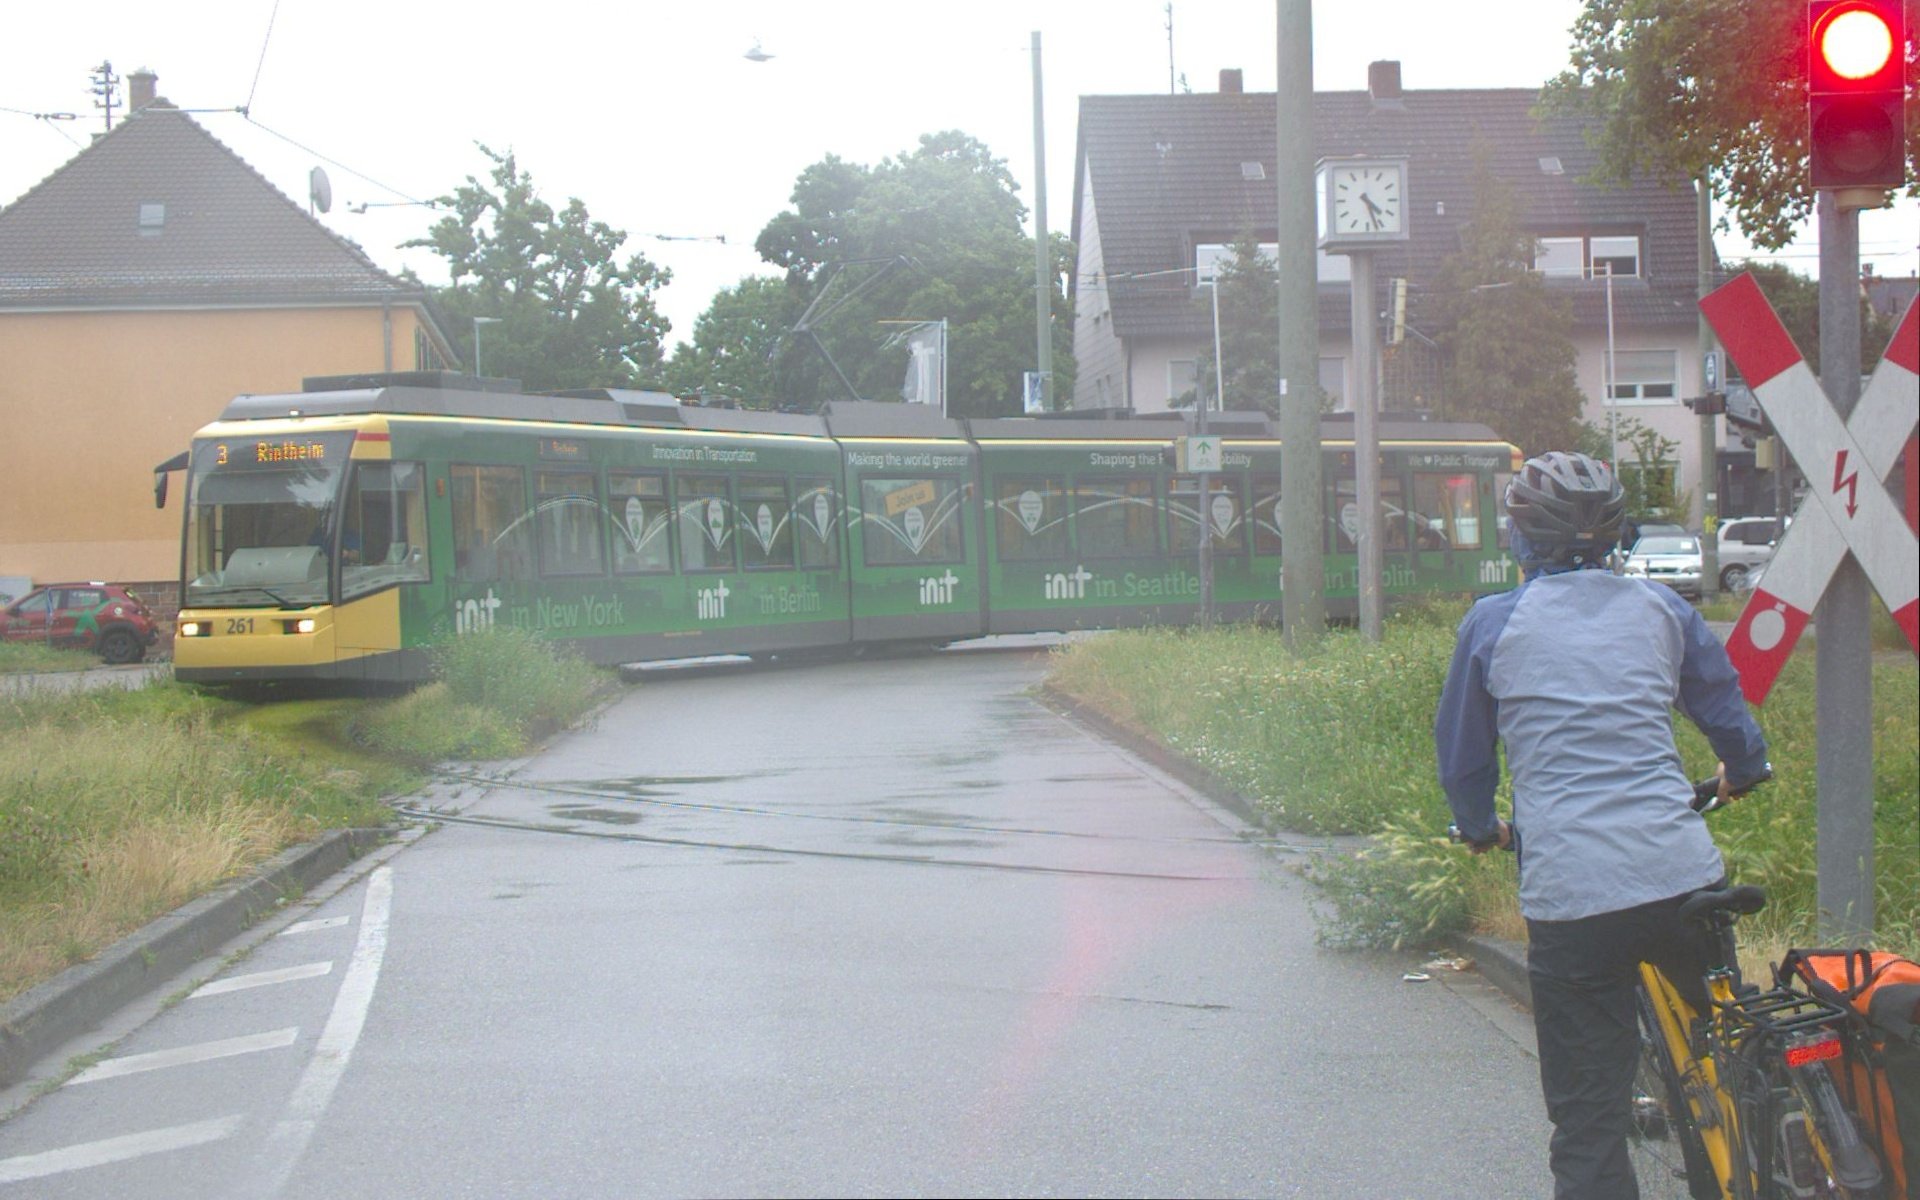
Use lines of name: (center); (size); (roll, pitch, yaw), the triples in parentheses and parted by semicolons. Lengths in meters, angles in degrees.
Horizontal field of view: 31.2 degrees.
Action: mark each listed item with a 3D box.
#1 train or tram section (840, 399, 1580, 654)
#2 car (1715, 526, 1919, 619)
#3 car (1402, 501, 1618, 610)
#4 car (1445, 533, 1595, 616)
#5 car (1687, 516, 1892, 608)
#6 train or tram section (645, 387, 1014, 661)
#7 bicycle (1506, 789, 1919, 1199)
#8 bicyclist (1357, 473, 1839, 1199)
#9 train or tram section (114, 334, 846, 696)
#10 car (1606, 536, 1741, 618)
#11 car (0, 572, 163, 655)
train or tram section: (4.186, -1.075, 52.983); (13.094, 3.541, 2.769); (0, 1, -40)
car: (16.356, -0.515, 65.104); (3.684, 1.695, 1.890); (1, 0, 0)
car: (12.171, -0.983, 76.232); (4.395, 2.317, 2.000); (1, 0, -2)
car: (11.523, -0.514, 70.574); (1.996, 1.634, 3.995); (1, 0, 25)
car: (18.374, -0.841, 76.271); (3.986, 1.944, 2.000); (1, 0, -2)
train or tram section: (-1.720, -1.029, 47.263); (2.765, 3.541, 4.979); (1, 1, 31)
bicycle: (1.352, 0.904, 6.068); (0.446, 1.001, 1.728); (-1, 1, -2)
bicyclist: (1.116, 0.599, 6.183); (0.667, 1.620, 0.853); (1, 0, -2)
train or tram section: (-5.009, -0.922, 39.829); (2.763, 3.541, 12.191); (1, 1, 21)
car: (14.752, -0.473, 70.965); (1.843, 1.634, 3.995); (1, 0, 25)
car: (-16.664, 0.227, 62.594); (3.986, 1.451, 1.834); (1, 0, -6)
